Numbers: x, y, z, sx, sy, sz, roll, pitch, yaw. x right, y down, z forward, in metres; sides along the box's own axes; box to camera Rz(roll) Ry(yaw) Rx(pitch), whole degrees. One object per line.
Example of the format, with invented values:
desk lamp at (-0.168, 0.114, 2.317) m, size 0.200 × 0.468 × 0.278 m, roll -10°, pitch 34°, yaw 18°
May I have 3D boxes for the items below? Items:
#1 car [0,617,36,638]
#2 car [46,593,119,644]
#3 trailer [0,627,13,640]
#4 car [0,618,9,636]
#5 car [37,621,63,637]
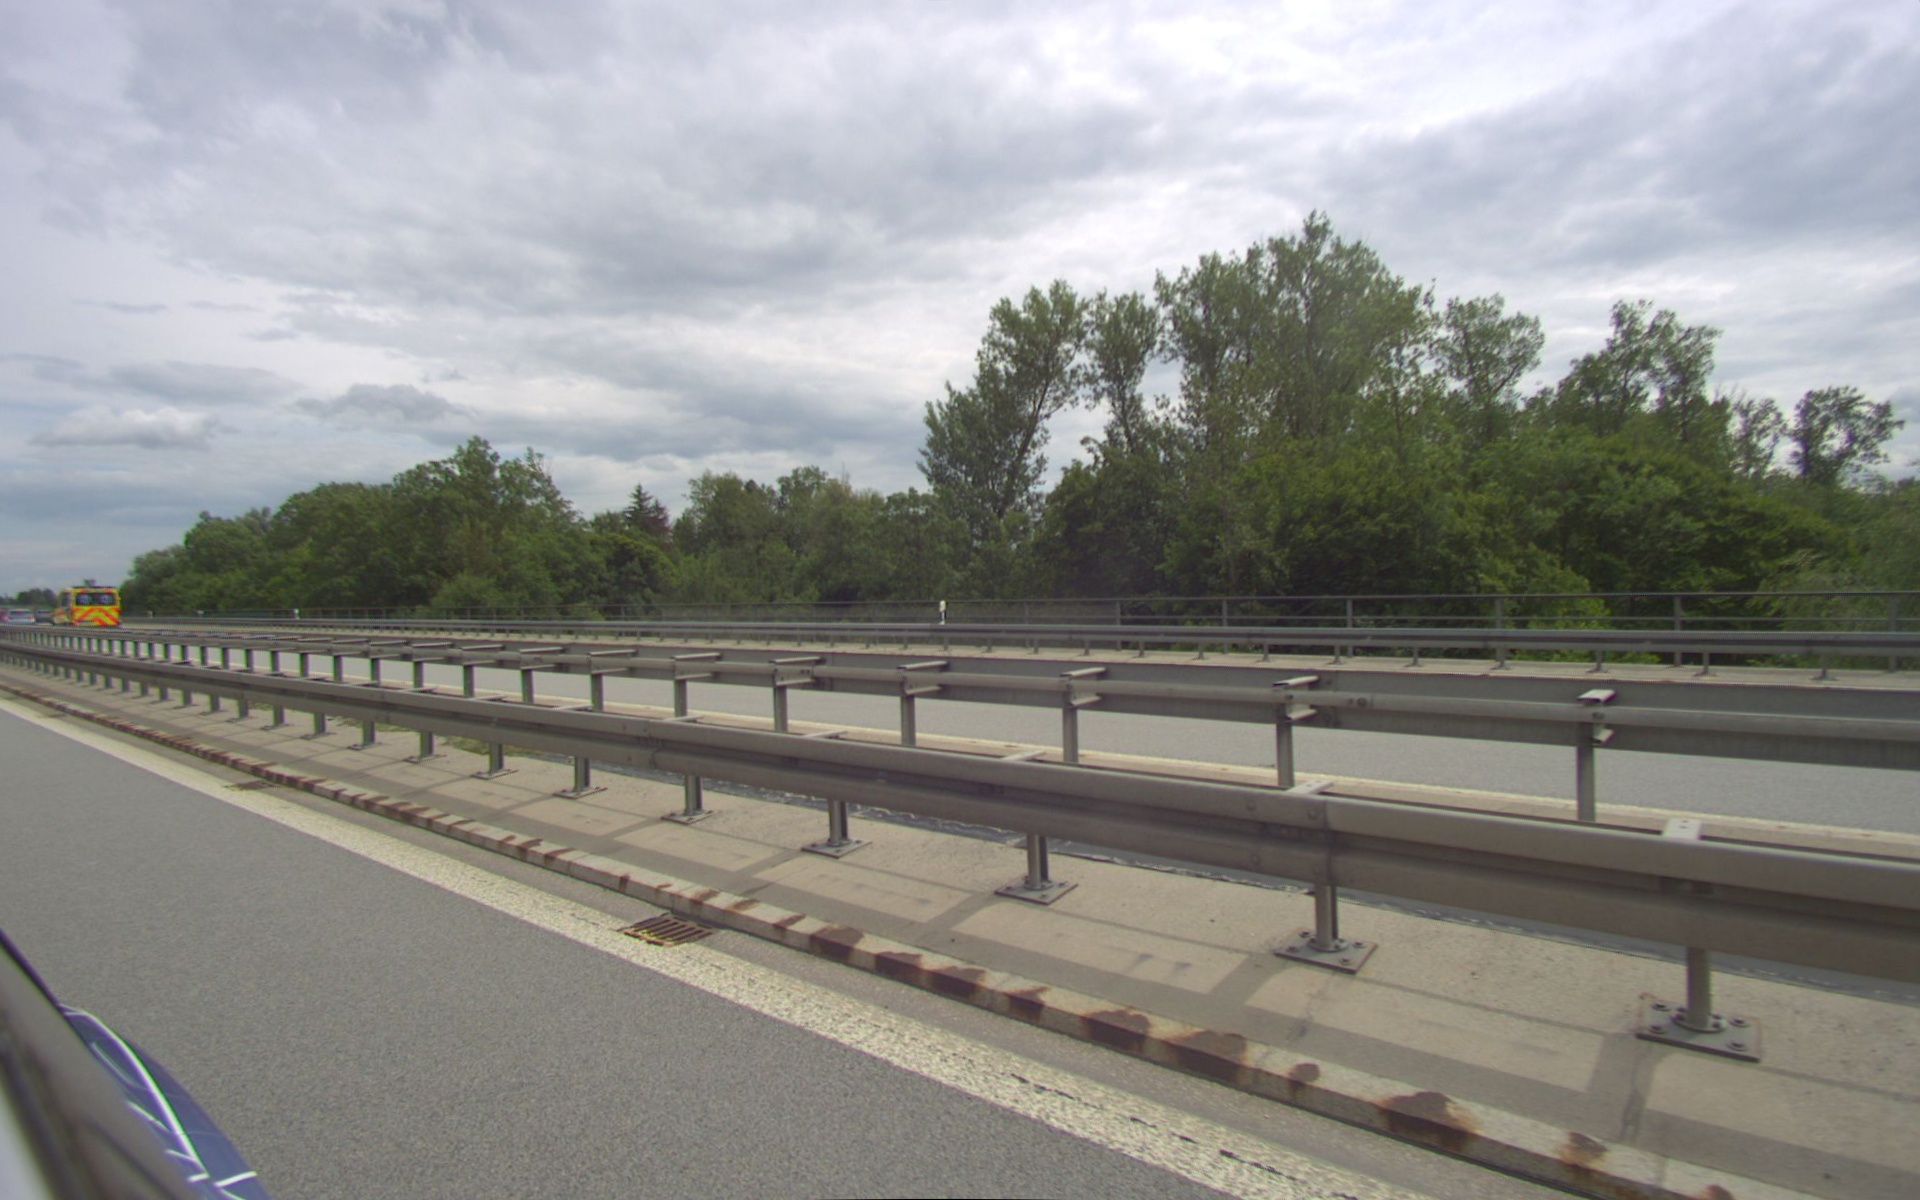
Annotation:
car at (-66.255, 1.902, 71.029) m, size 4.249 × 1.416 × 1.710 m, roll -1°, pitch -1°, yaw 42°
car at (-42.398, 0.899, 48.826) m, size 6.397 × 2.310 × 1.972 m, roll -2°, pitch -1°, yaw 43°
trailer at (-90.401, 3.163, 95.251) m, size 3.450 × 1.133 × 1.542 m, roll -2°, pitch -2°, yaw 42°
car at (-93.290, 2.649, 97.722) m, size 4.568 × 1.653 × 1.793 m, roll -2°, pitch -1°, yaw 42°
car at (-98.900, 3.179, 110.010) m, size 4.568 × 1.653 × 1.691 m, roll -1°, pitch -1°, yaw 42°
